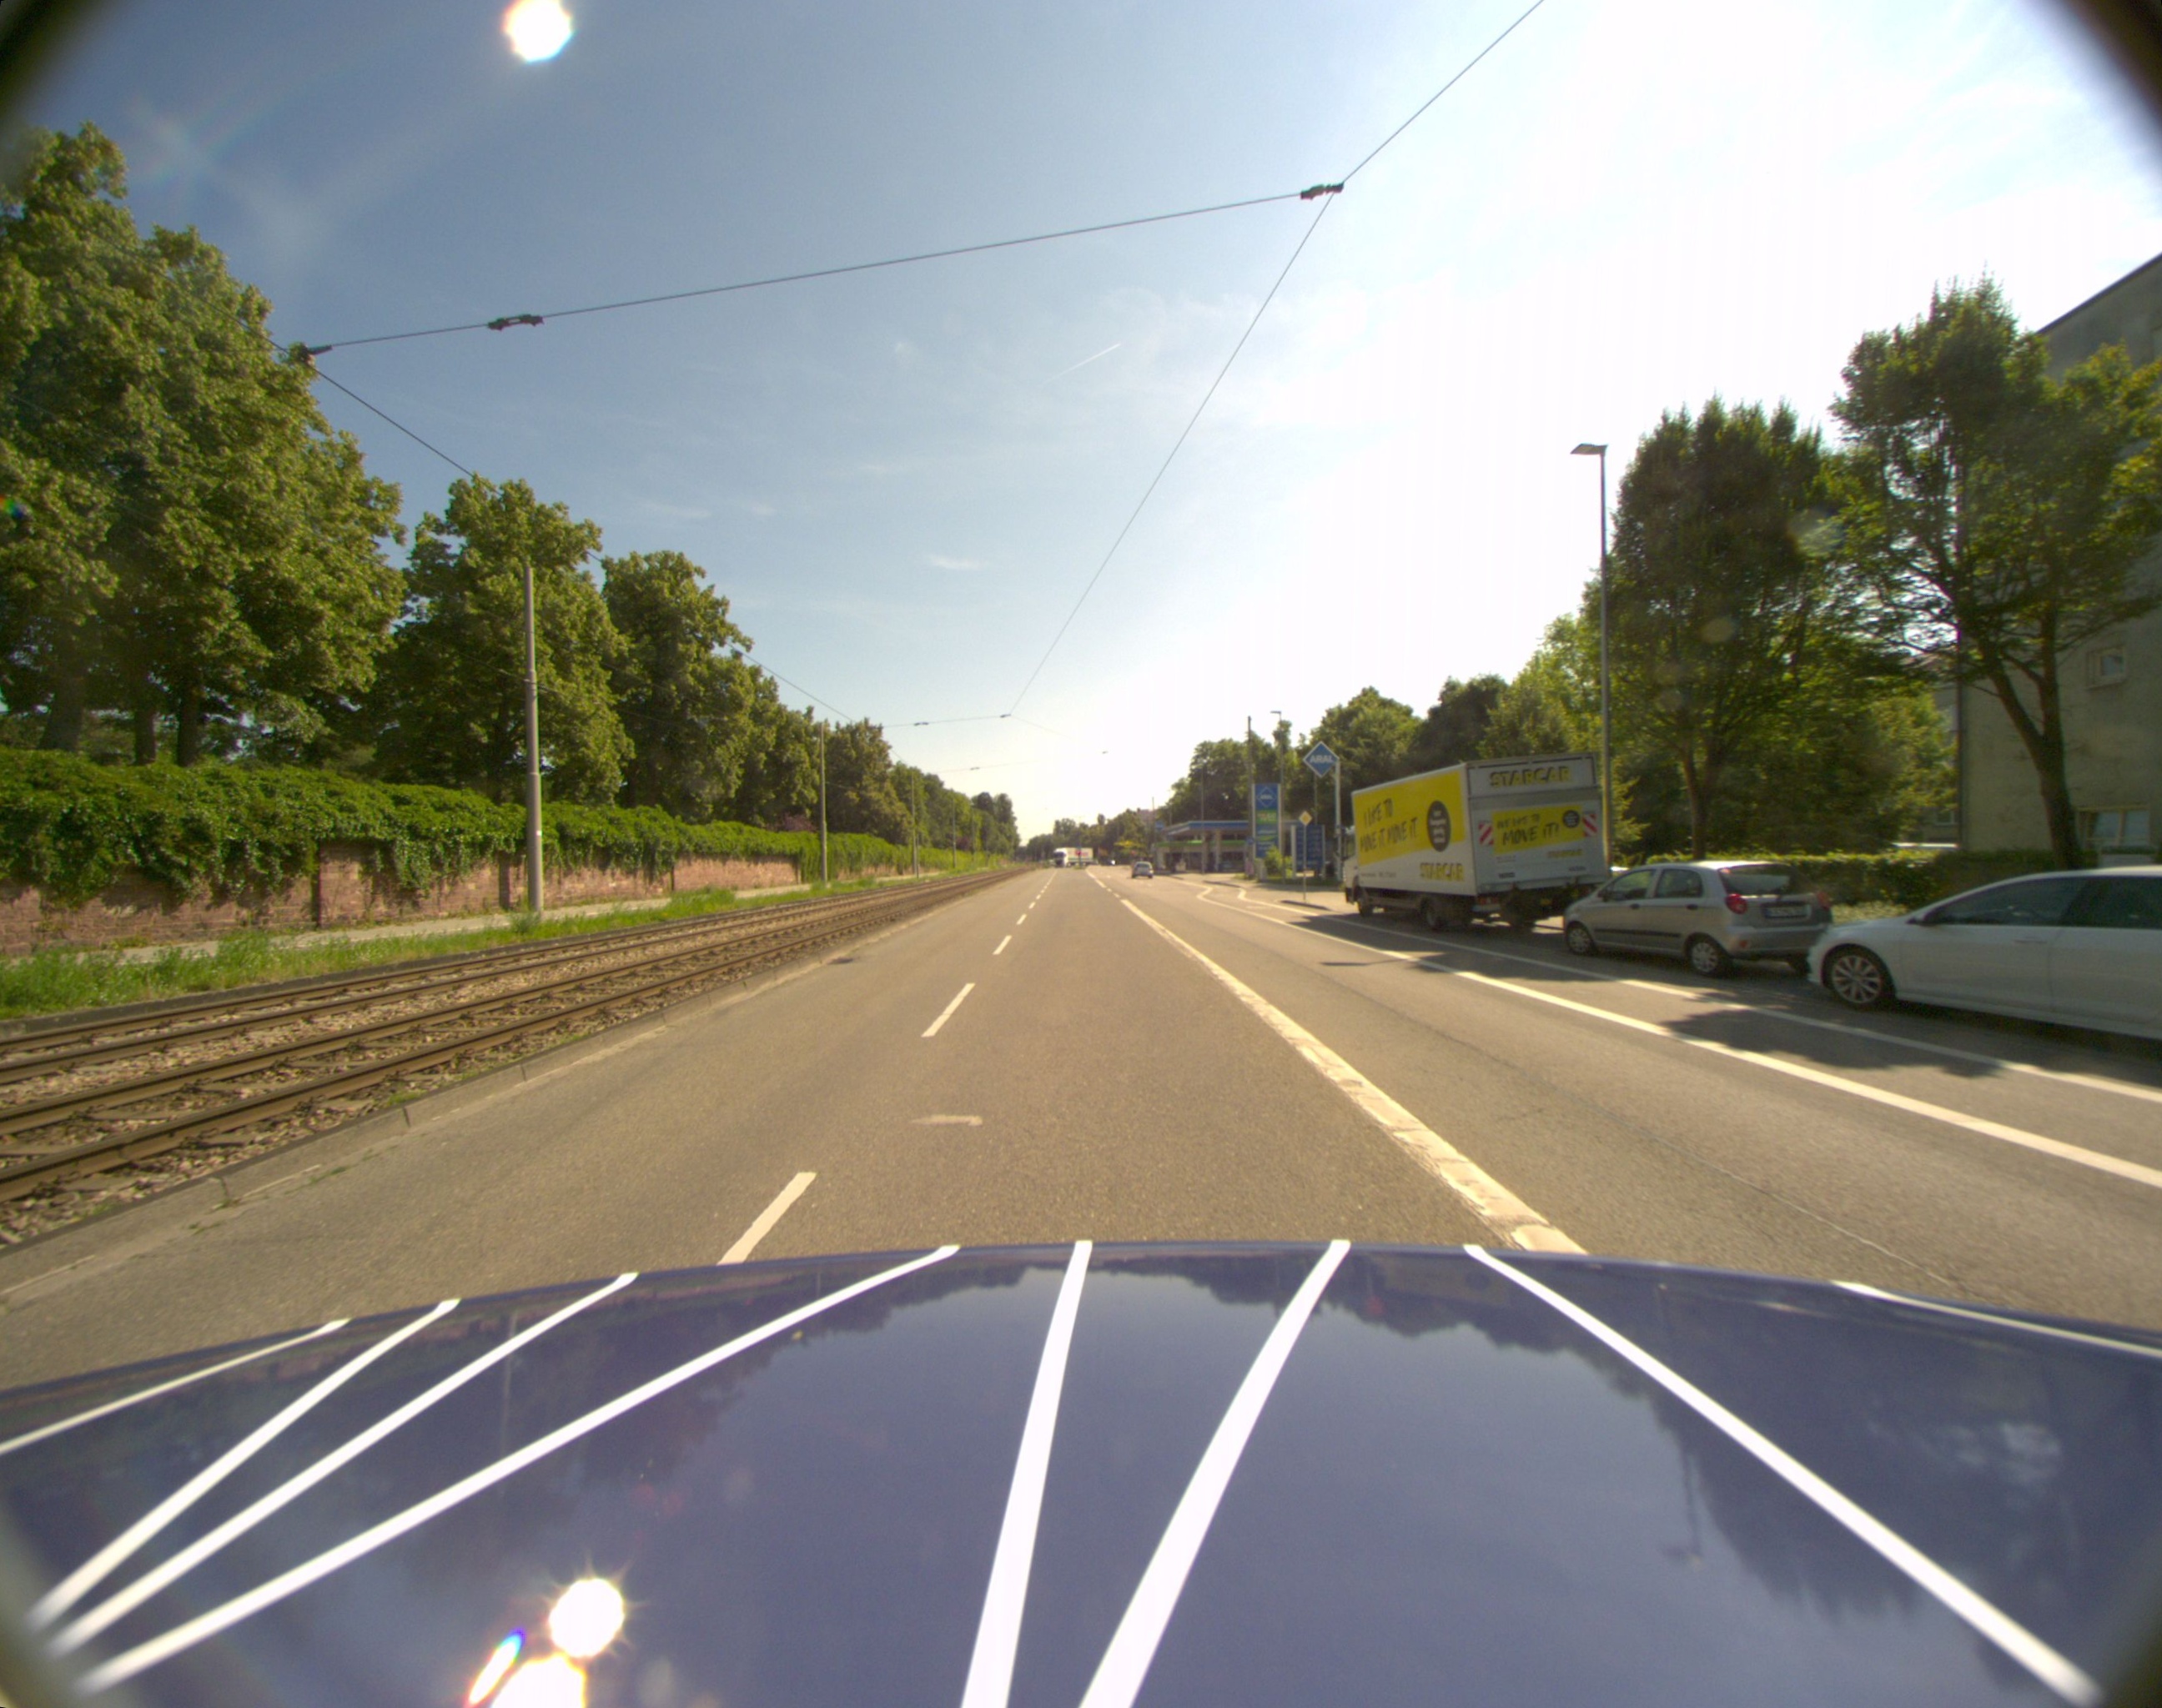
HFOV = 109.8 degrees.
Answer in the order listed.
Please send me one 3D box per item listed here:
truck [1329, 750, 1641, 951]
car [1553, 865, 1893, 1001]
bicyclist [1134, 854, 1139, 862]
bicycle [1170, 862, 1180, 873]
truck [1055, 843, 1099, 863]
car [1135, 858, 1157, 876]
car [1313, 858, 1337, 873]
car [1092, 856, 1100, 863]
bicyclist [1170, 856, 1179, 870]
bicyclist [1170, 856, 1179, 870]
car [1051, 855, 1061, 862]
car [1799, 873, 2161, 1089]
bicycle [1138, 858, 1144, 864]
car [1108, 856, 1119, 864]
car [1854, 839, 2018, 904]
[{"bbox_3d":[8.683,-0.063,17.977,2.674,3.509,8.590,-2,0,0],"label":"truck"},{"bbox_3d":[8.656,0.947,10.716,1.614,1.475,3.635,-3,0,-2],"label":"car"},{"bbox_3d":[10.511,0.762,144.605,0.710,1.412,0.739,-1,-1,-9],"label":"bicyclist"},{"bbox_3d":[10.004,1.405,80.846,0.827,1.088,2.773,-1,0,2],"label":"bicycle"},{"bbox_3d":[-0.705,-0.252,158.849,2.847,3.983,14.330,0,0,27],"label":"truck"},{"bbox_3d":[5.518,1.101,64.728,1.662,1.412,4.310,1,0,3],"label":"car"},{"bbox_3d":[22.540,1.033,70.102,1.801,1.338,4.250,-1,0,23],"label":"car"},{"bbox_3d":[4.335,1.609,216.224,1.826,1.661,3.999,-1,-2,-6],"label":"car"},{"bbox_3d":[9.984,0.932,80.833,0.849,1.427,0.832,-1,1,2],"label":"bicyclist"},{"bbox_3d":[10.014,0.947,81.650,0.849,1.427,0.833,-2,-1,2],"label":"bicyclist"},{"bbox_3d":[-5.994,1.098,180.351,1.931,1.593,4.466,-2,0,-6],"label":"car"},{"bbox_3d":[8.599,0.943,6.007,1.762,1.420,4.281,-2,0,0],"label":"car"},{"bbox_3d":[11.579,1.301,146.584,0.940,1.168,2.211,-1,0,1],"label":"bicycle"},{"bbox_3d":[7.612,1.431,178.824,1.826,1.661,3.999,-1,-2,-6],"label":"car"},{"bbox_3d":[34.716,0.702,30.973,4.179,2.523,1.790,0,0,13],"label":"car"}]
